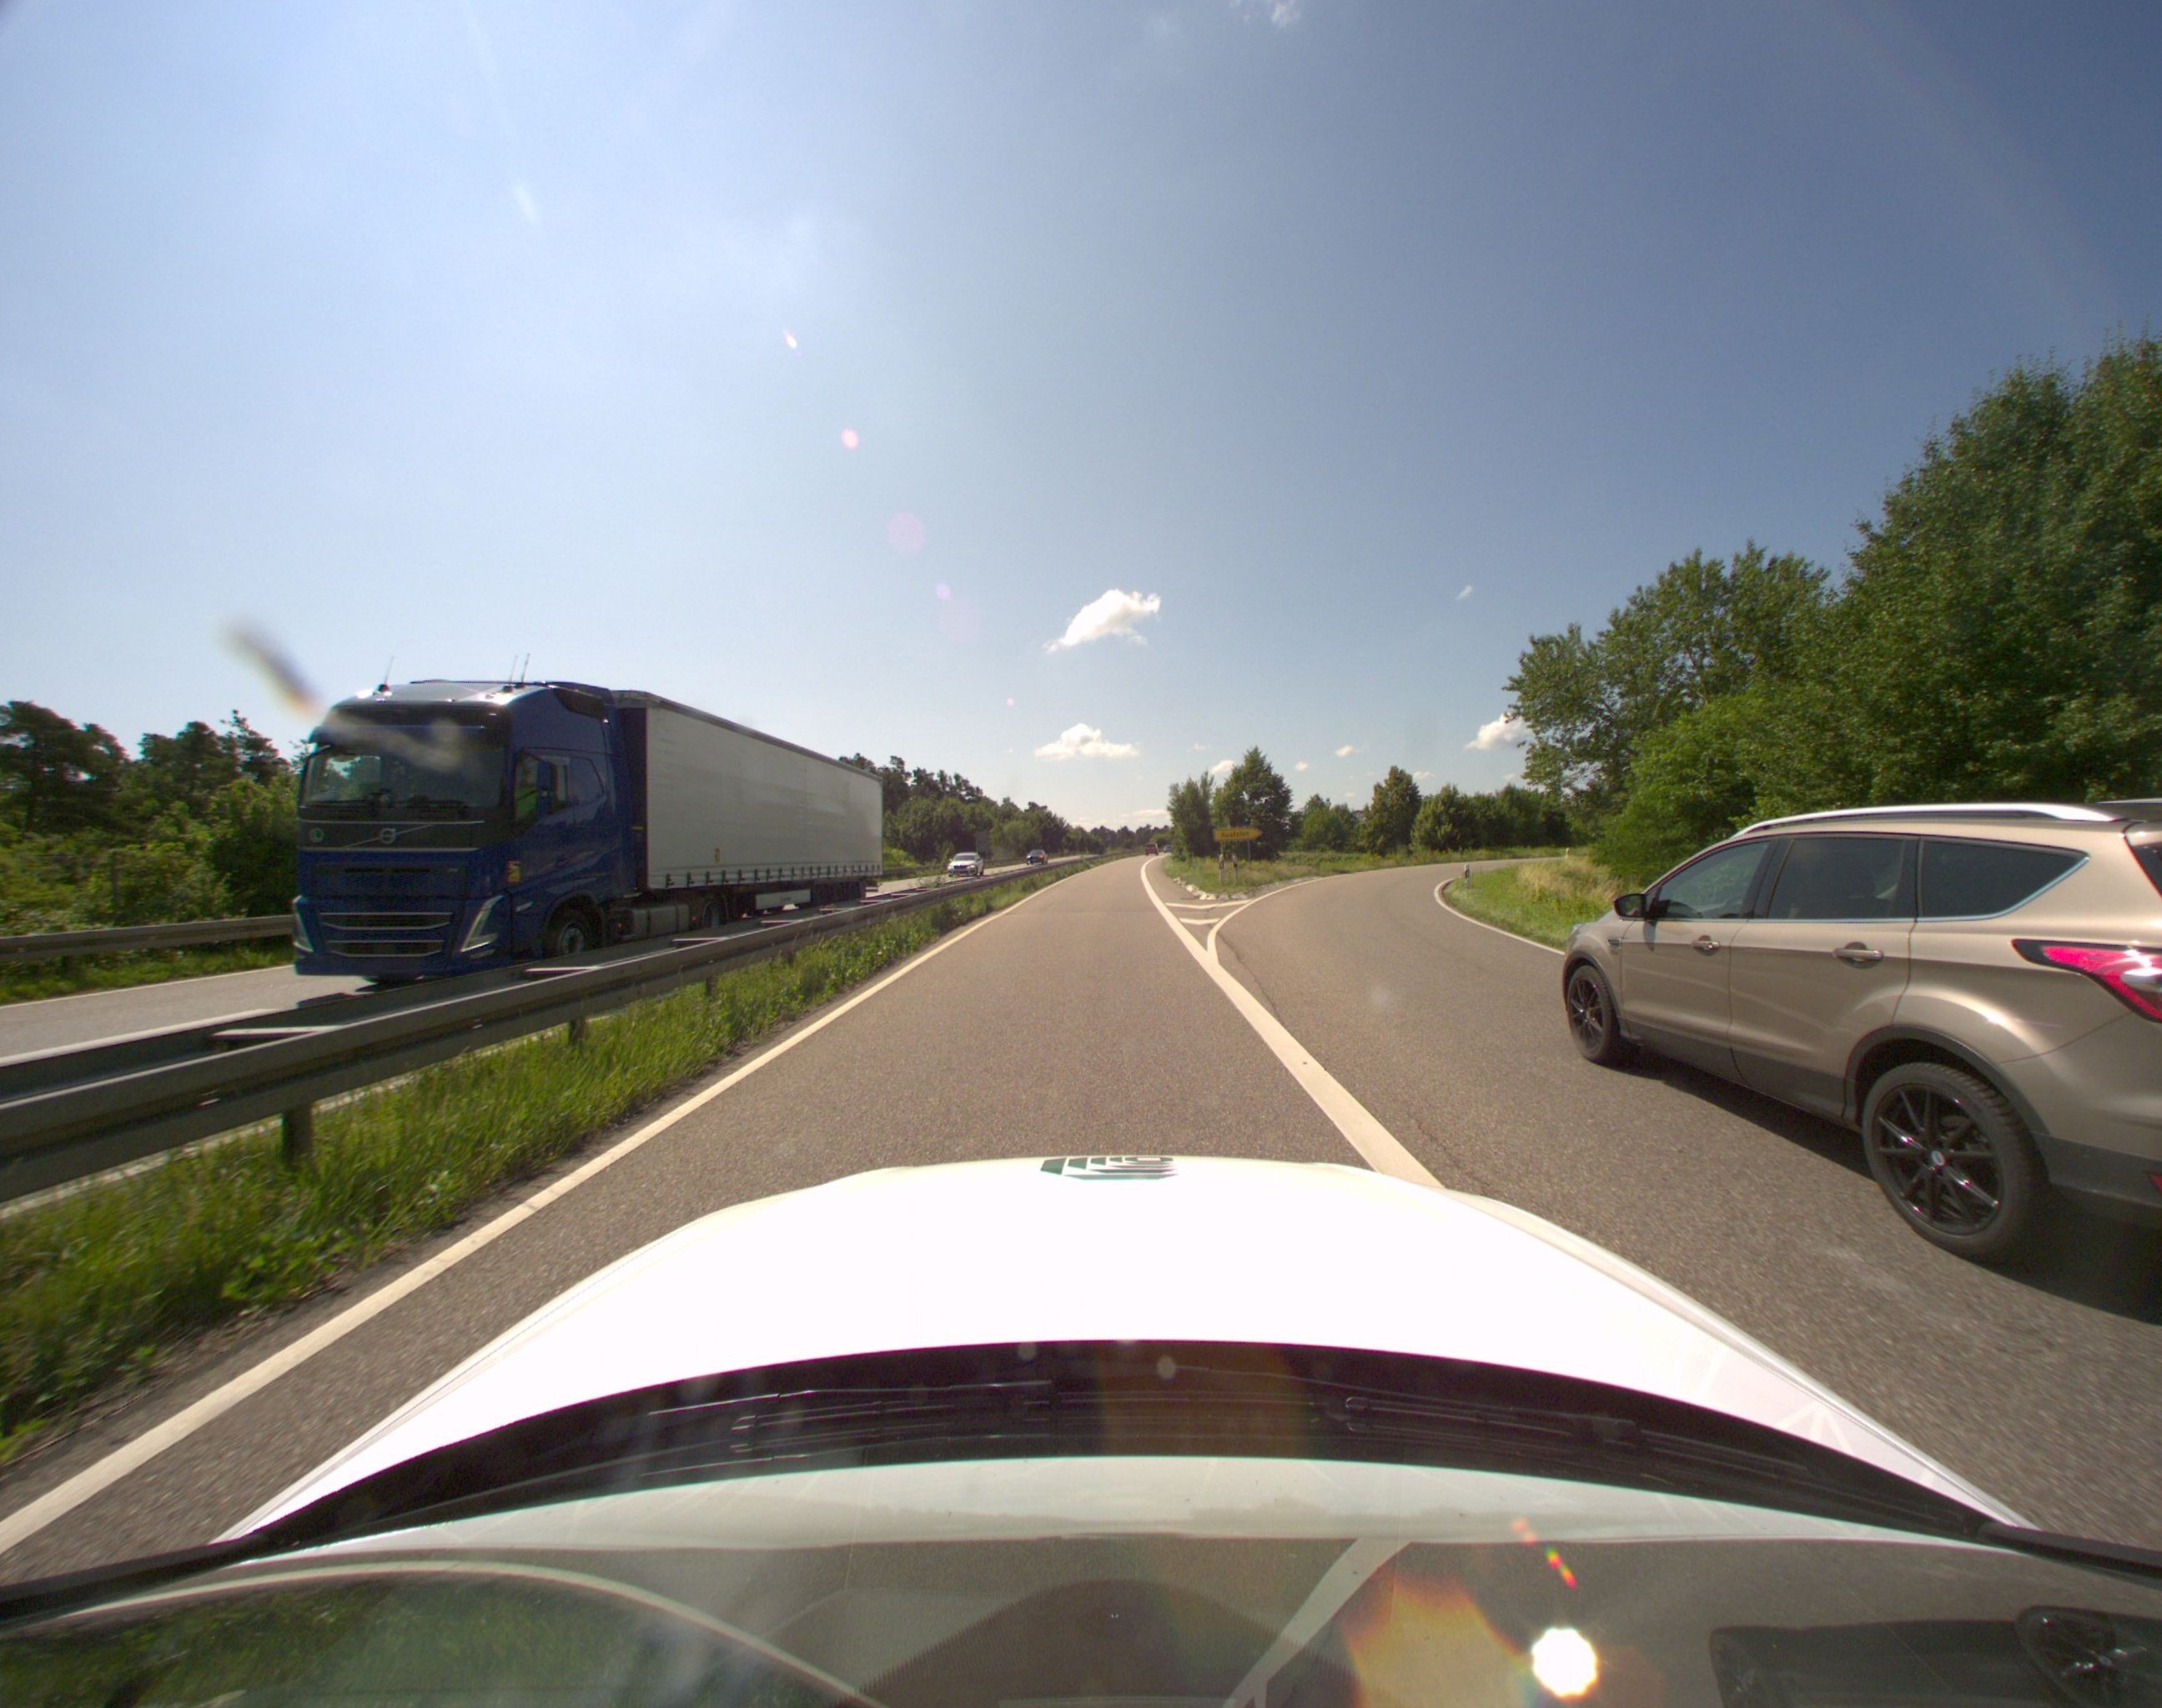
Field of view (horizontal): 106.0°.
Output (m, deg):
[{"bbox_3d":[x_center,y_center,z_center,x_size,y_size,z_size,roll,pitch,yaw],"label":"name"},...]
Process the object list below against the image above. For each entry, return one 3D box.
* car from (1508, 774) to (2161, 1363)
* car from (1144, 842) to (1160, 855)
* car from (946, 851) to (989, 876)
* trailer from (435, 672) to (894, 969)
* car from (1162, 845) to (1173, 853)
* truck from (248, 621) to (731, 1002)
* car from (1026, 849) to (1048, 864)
[{"bbox_3d":[4.264,0.571,4.449,1.884,1.666,4.675,-1,0,7],"label":"car"},{"bbox_3d":[11.501,-0.805,132.014,2.065,1.993,5.125,-1,0,9],"label":"car"},{"bbox_3d":[-7.177,0.555,51.817,1.786,1.444,4.611,-1,0,3],"label":"car"},{"bbox_3d":[-7.632,-0.497,18.943,2.735,4.172,14.588,-1,0,2],"label":"trailer"},{"bbox_3d":[16.691,-0.936,157.395,1.996,1.494,4.249,-1,0,9],"label":"car"},{"bbox_3d":[-7.818,-0.478,11.896,2.757,4.187,5.600,-1,0,1],"label":"truck"},{"bbox_3d":[-4.619,0.250,85.760,1.748,1.500,4.578,-1,0,3],"label":"car"}]
